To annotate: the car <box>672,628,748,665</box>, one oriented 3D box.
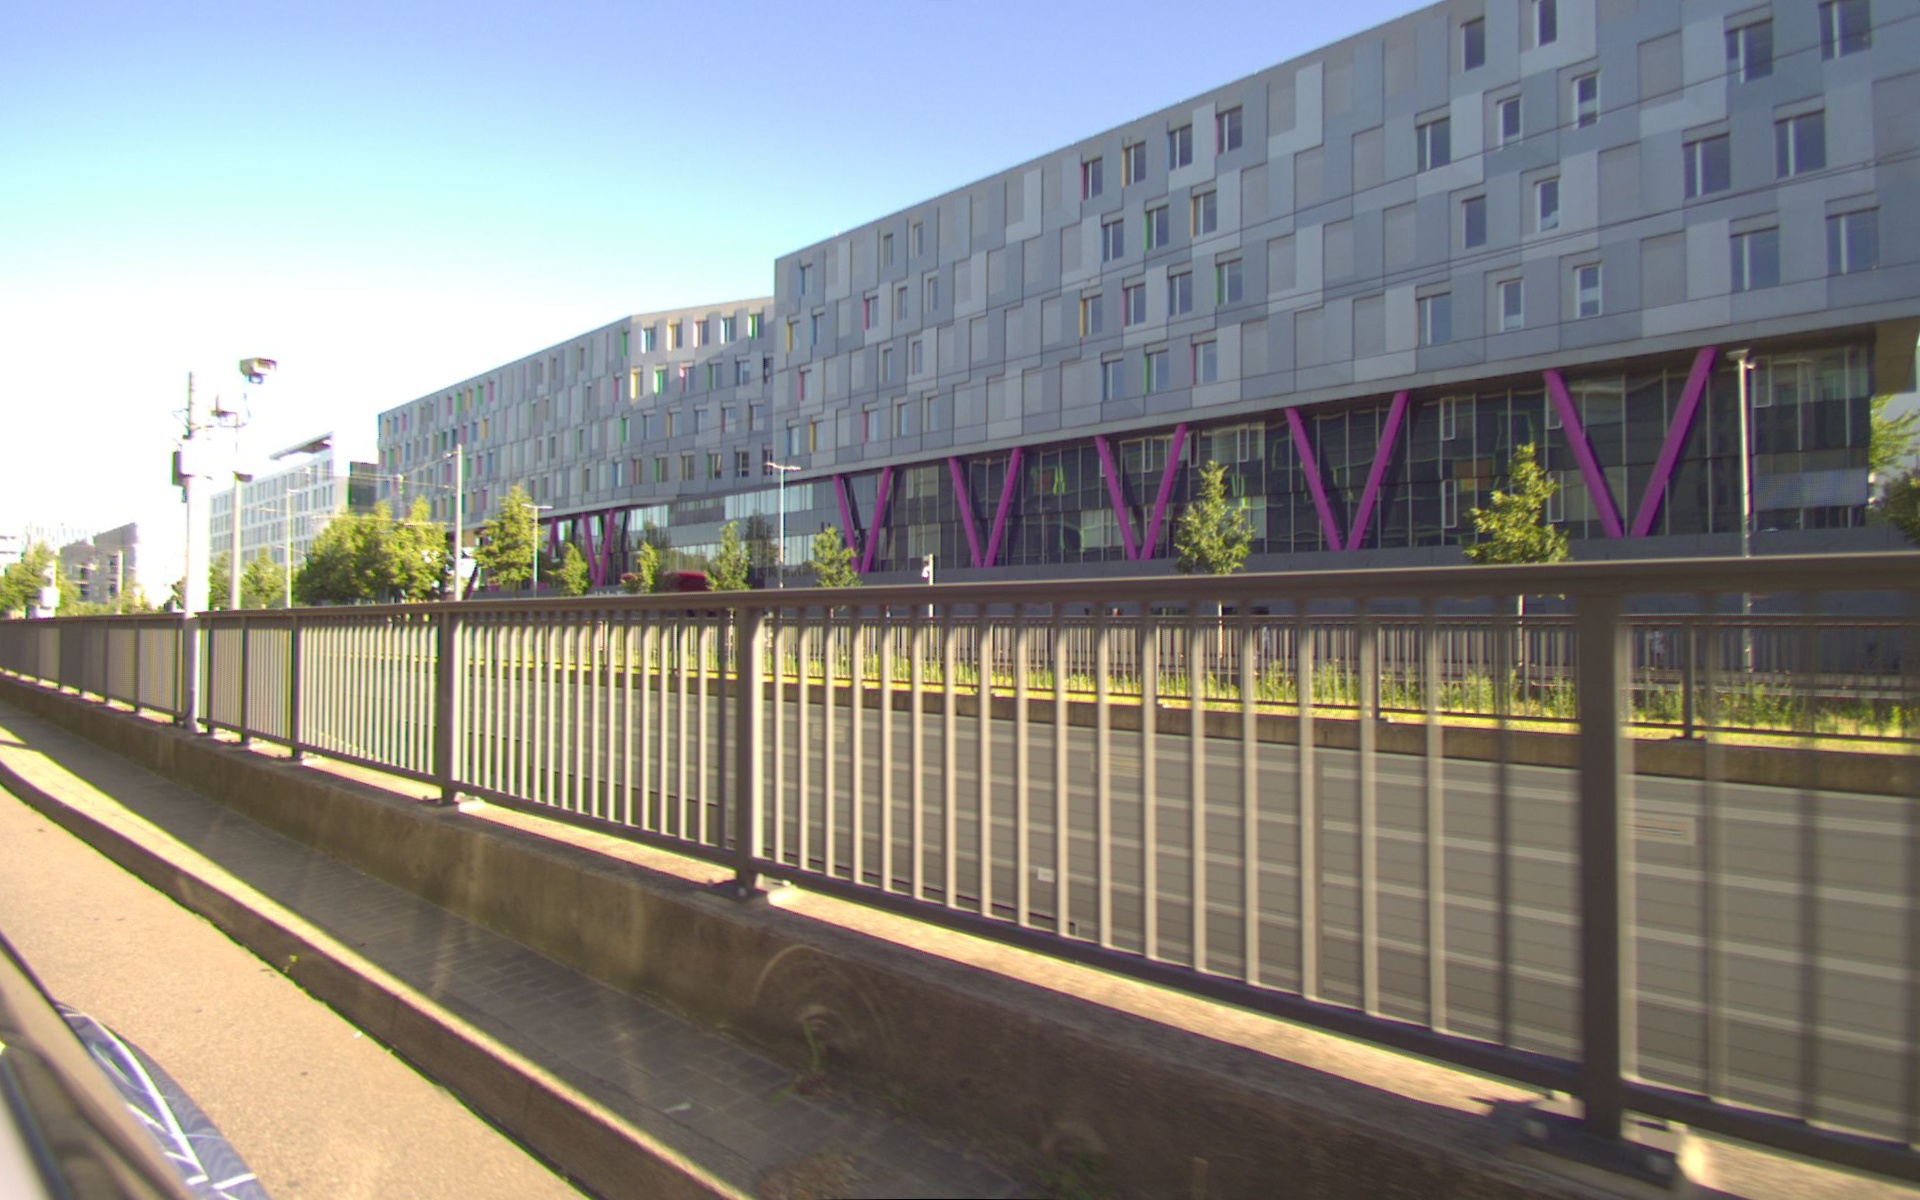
[{"bbox_3d":[-13.196,2.423,53.385,3.998,1.853,1.972,-2,-3,41],"label":"car"}]
